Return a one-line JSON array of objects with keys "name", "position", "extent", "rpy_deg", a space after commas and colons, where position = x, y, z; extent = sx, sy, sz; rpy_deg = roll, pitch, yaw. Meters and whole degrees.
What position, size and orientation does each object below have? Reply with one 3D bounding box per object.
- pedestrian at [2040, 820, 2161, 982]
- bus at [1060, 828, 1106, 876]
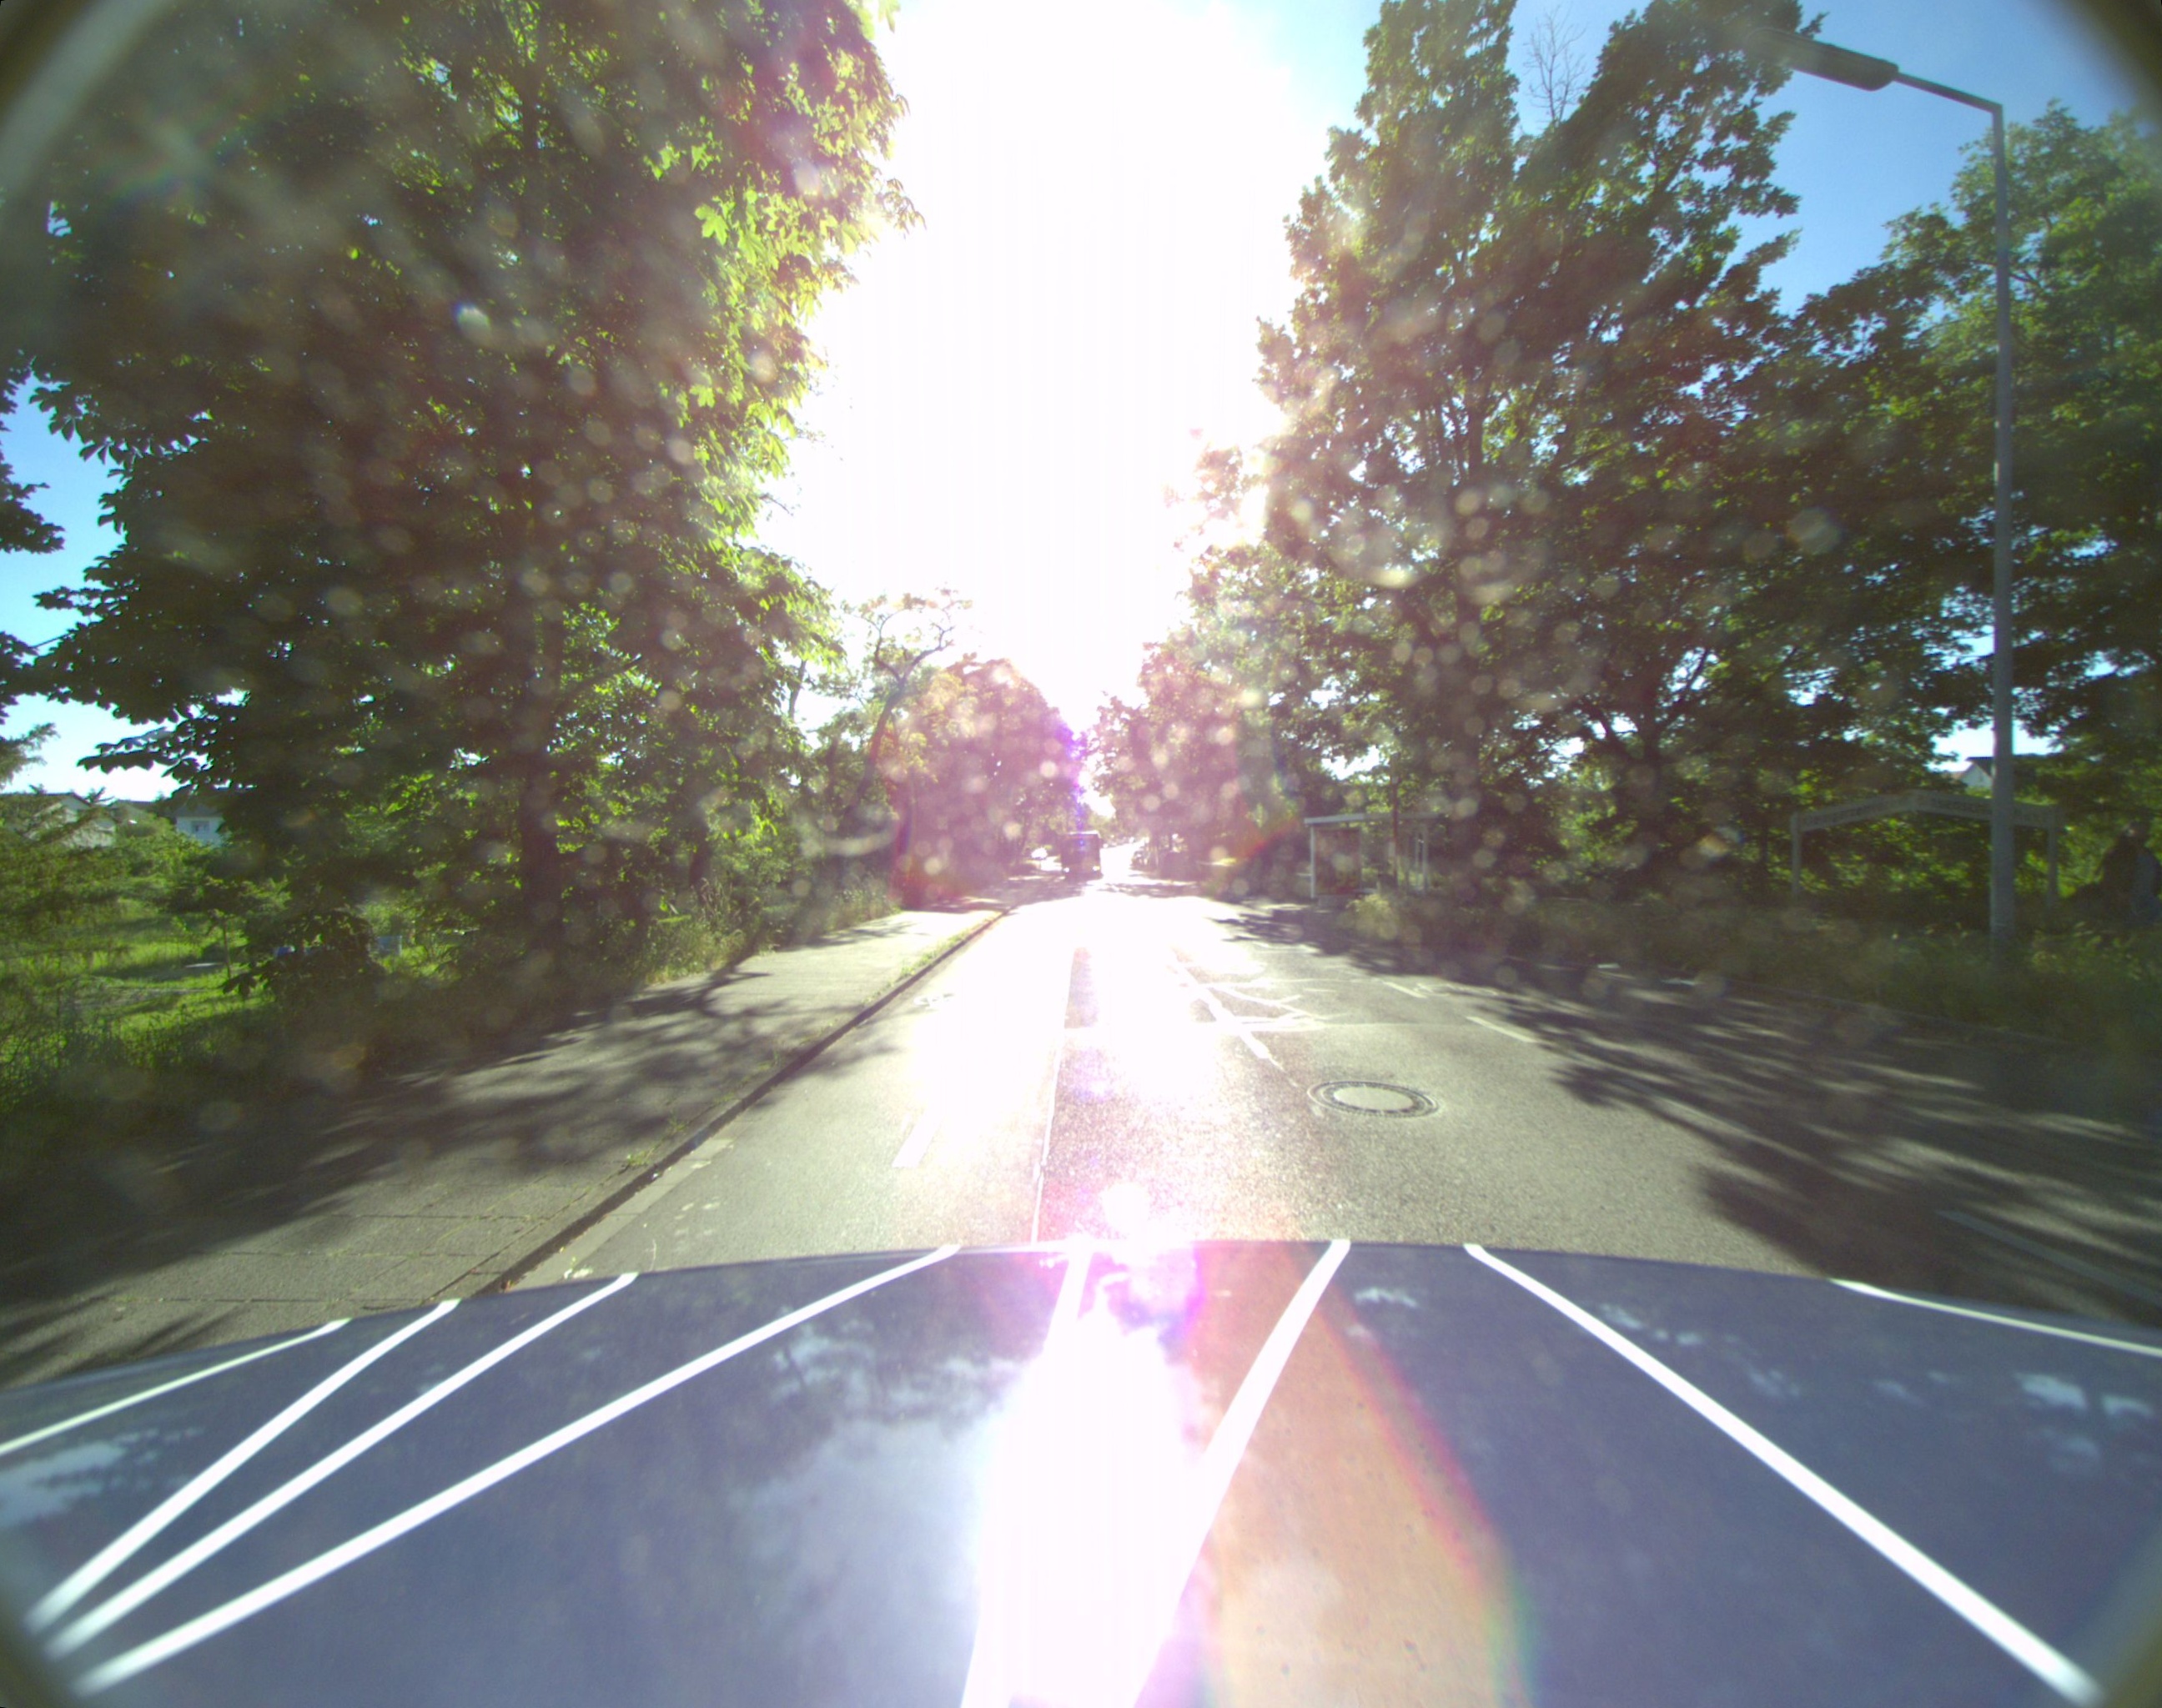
[{"name": "pedestrian", "position": [11.559, 0.474, 8.335], "extent": [0.915, 1.678, 0.891], "rpy_deg": [-2, 0, 2]}, {"name": "bus", "position": [0.050, -0.121, 55.002], "extent": [2.790, 2.965, 12.893], "rpy_deg": [-2, 0, -1]}]
